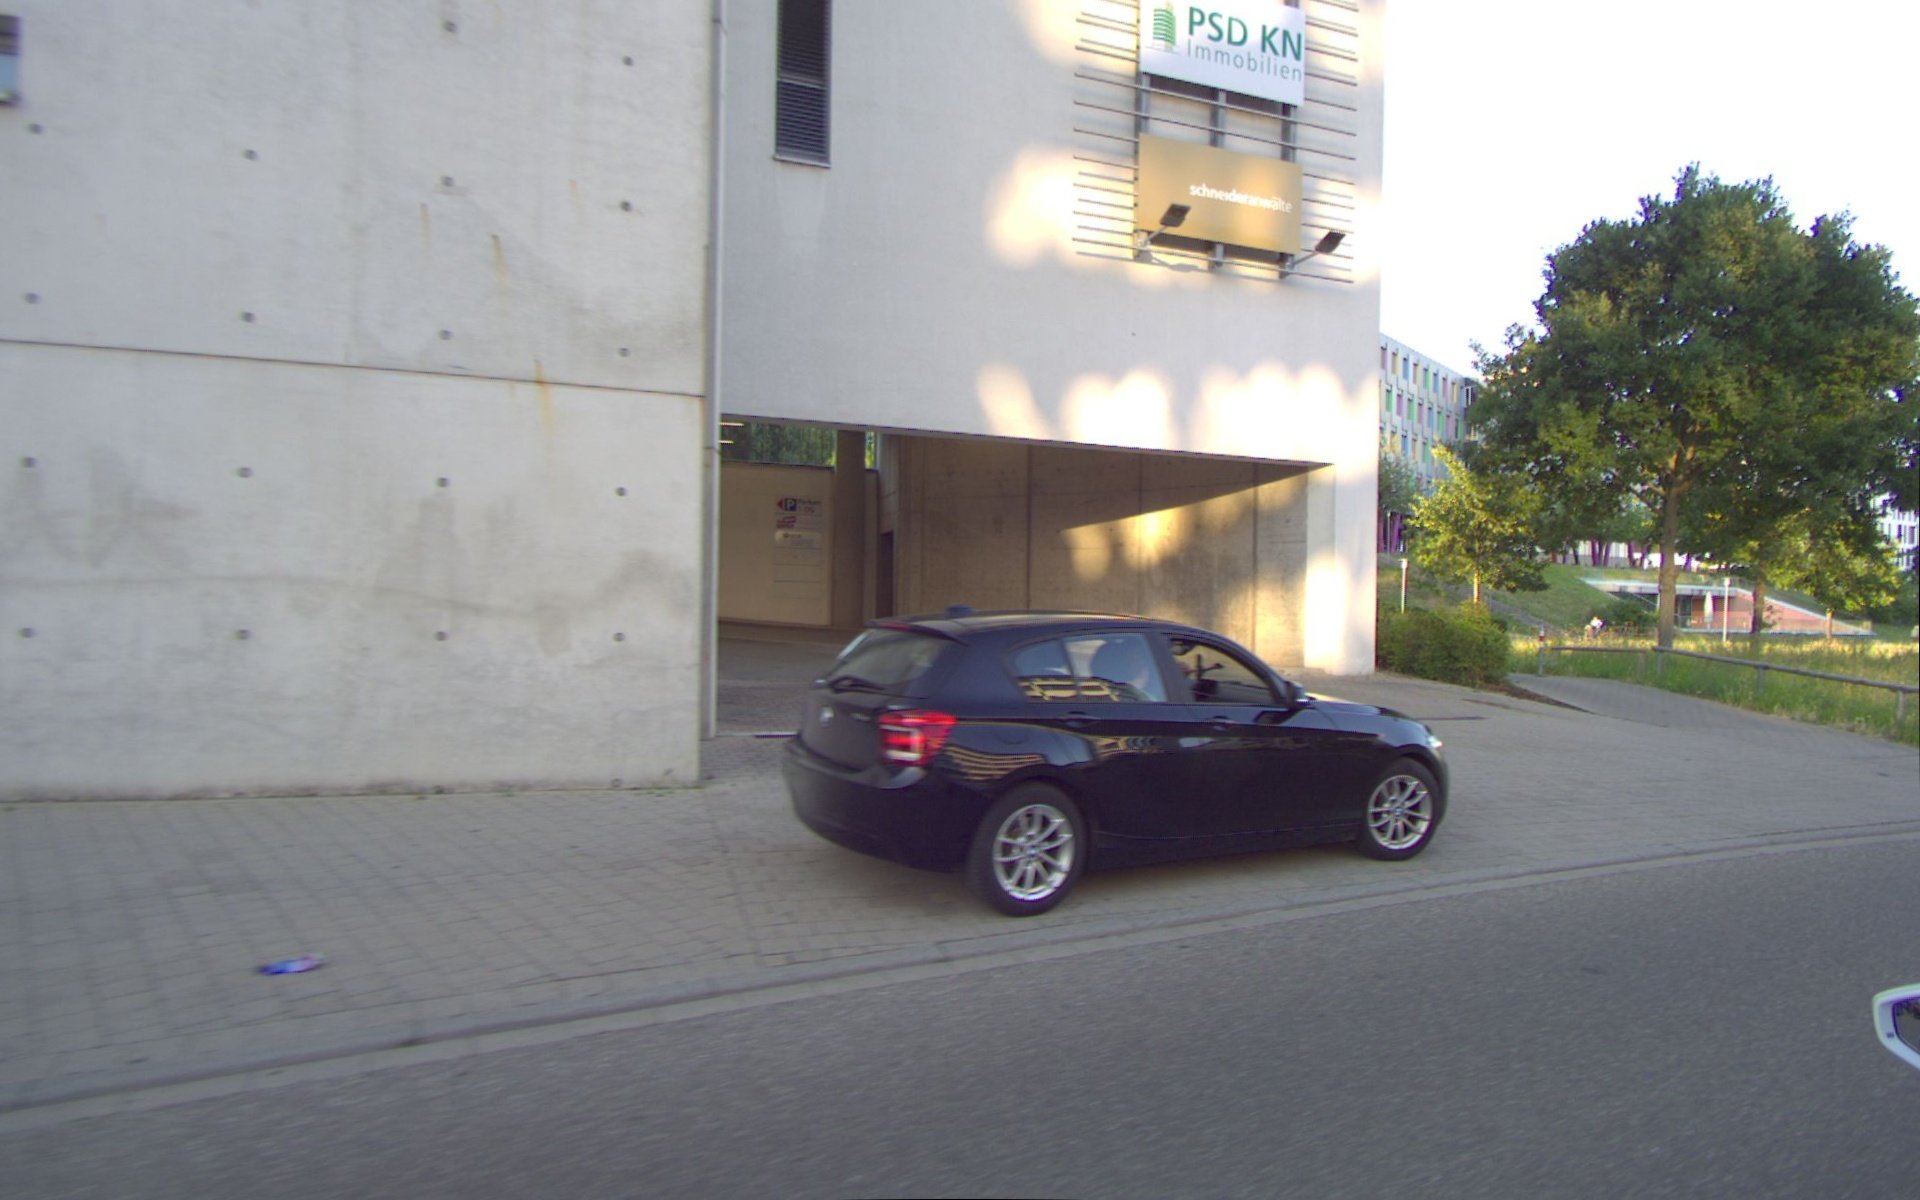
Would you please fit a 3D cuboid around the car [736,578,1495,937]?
[{"bbox_3d":[0.983,0.671,5.966,4.175,1.461,1.845,1,2,-28],"label":"car"}]

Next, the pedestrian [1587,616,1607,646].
[{"bbox_3d":[39.690,1.940,62.569,0.778,1.861,0.615,1,1,-20],"label":"pedestrian"}]

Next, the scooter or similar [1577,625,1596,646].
[{"bbox_3d":[38.804,2.220,62.189,0.778,1.260,0.615,1,1,-20],"label":"scooter or similar"}]

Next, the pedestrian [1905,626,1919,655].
[{"bbox_3d":[70.536,3.013,74.247,0.778,2.110,0.615,1,1,-20],"label":"pedestrian"}]
